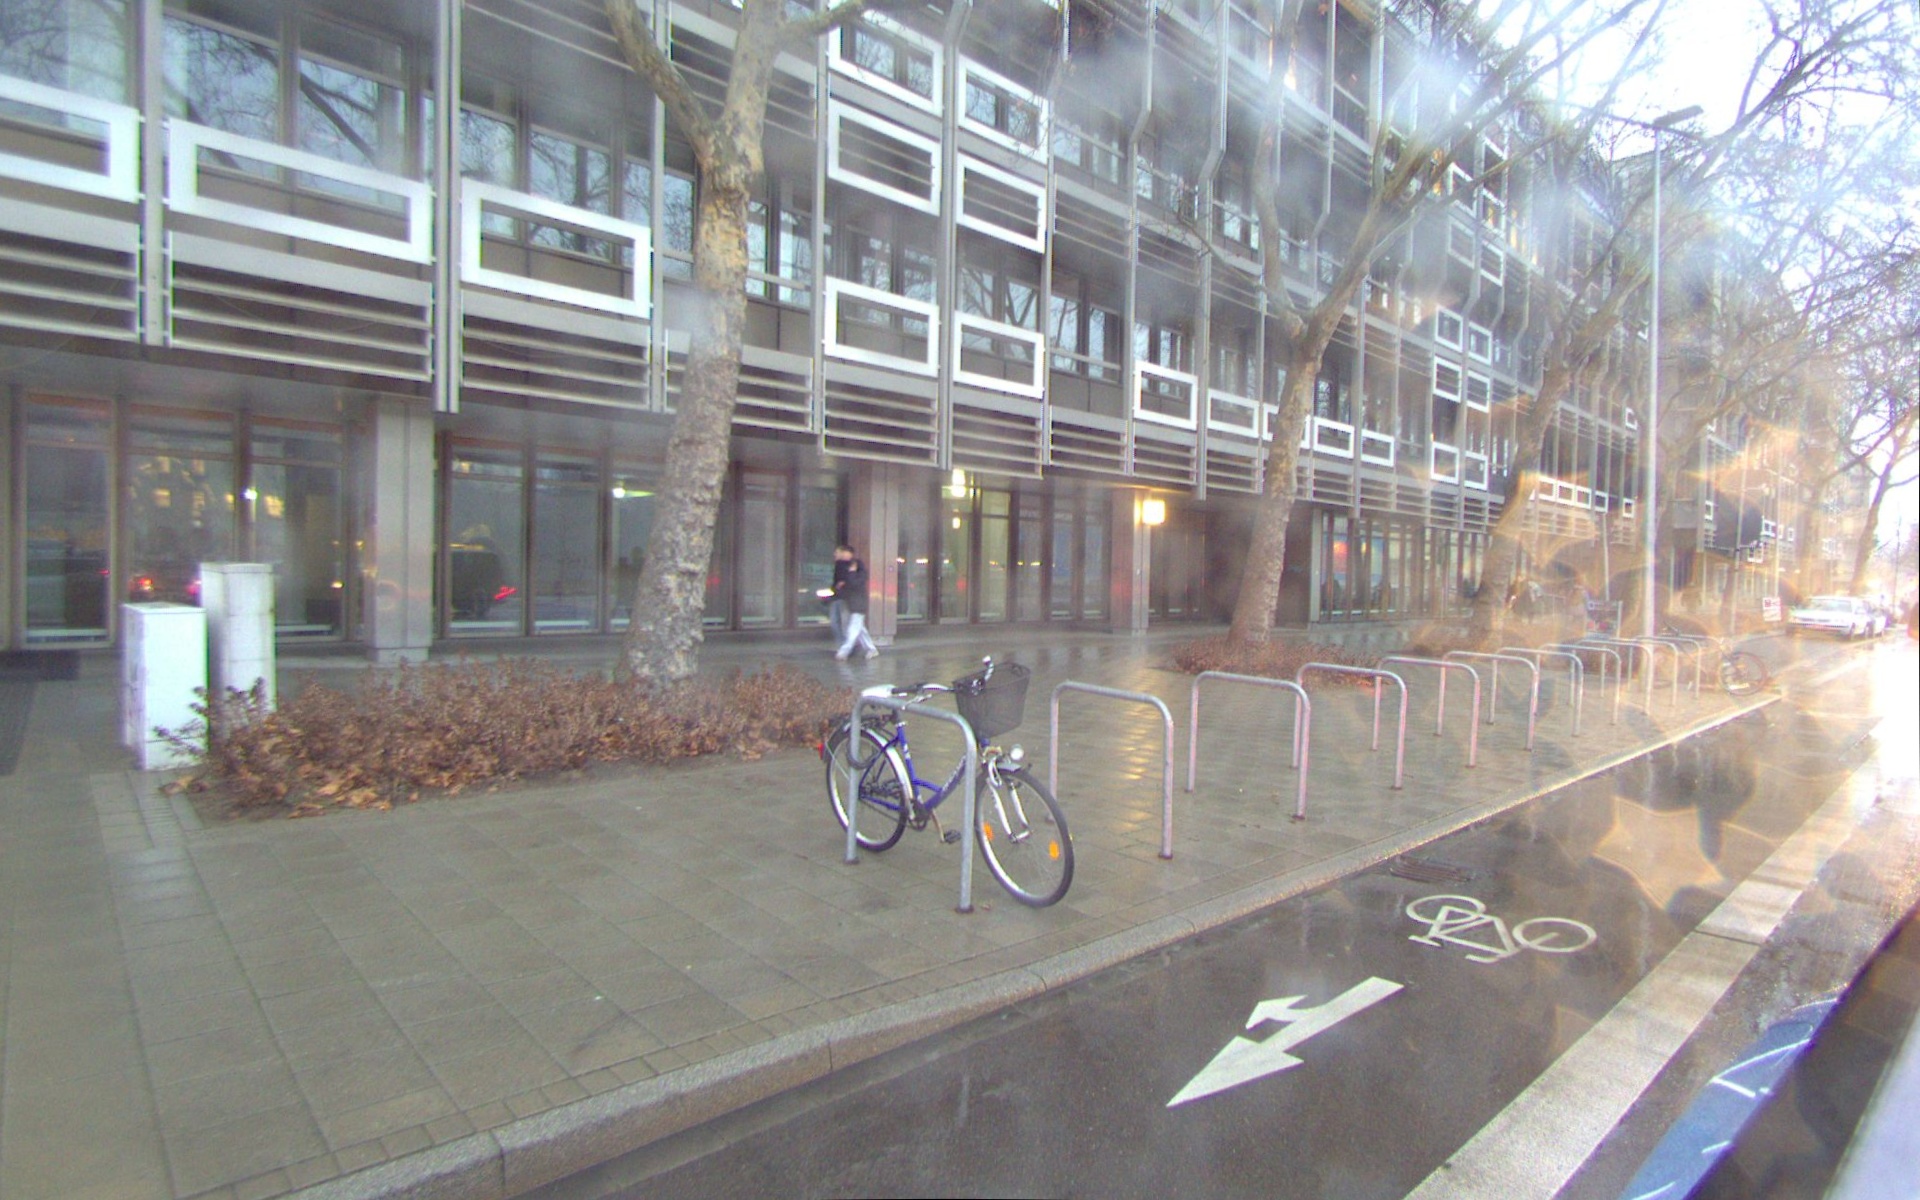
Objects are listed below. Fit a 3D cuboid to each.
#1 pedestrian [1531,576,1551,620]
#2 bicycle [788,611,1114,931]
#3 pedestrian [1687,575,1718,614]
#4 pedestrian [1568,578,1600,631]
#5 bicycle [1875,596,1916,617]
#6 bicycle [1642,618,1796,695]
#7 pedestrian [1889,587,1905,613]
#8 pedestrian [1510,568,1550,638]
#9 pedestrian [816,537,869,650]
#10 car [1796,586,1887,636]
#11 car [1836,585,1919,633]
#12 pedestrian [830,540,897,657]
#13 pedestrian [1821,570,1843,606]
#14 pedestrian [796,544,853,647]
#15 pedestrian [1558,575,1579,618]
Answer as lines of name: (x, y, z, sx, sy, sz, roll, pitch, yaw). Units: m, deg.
pedestrian: (18.688, -0.073, 32.564, 0.491, 1.386, 0.496, 2, 1, 36)
bicycle: (-0.122, 0.697, 4.837, 0.428, 1.162, 1.752, 0, 4, -44)
pedestrian: (29.772, -0.222, 40.588, 0.824, 1.543, 0.865, 0, 2, -44)
pedestrian: (18.965, 0.125, 30.769, 0.604, 1.563, 0.649, 0, 1, -40)
bicycle: (47.045, 0.330, 50.918, 1.518, 1.049, 0.462, 0, 1, 42)
bicycle: (11.645, 0.841, 15.564, 0.607, 0.986, 1.789, 0, 3, -45)
pedestrian: (73.283, 0.008, 79.129, 0.758, 2.039, 0.837, -1, 0, -42)
pedestrian: (16.938, 0.076, 30.087, 0.723, 2.039, 0.821, 0, 1, -43)
pedestrian: (-1.793, -0.100, 15.488, 0.701, 1.689, 0.379, 0, 1, -41)
car: (29.420, 0.329, 33.748, 3.859, 1.449, 1.609, 0, 4, -39)
car: (34.949, 0.343, 38.363, 3.929, 1.503, 1.999, 3, 4, -41)
pedestrian: (-1.441, -0.030, 15.153, 0.858, 1.689, 0.501, 0, 2, -41)
pedestrian: (49.991, -0.694, 58.037, 1.007, 2.039, 0.790, 0, 1, -41)
pedestrian: (-2.119, -0.078, 15.853, 0.733, 1.583, 0.484, 0, 1, -42)
pedestrian: (24.041, -0.157, 39.978, 0.637, 1.675, 0.833, 2, 1, 32)
